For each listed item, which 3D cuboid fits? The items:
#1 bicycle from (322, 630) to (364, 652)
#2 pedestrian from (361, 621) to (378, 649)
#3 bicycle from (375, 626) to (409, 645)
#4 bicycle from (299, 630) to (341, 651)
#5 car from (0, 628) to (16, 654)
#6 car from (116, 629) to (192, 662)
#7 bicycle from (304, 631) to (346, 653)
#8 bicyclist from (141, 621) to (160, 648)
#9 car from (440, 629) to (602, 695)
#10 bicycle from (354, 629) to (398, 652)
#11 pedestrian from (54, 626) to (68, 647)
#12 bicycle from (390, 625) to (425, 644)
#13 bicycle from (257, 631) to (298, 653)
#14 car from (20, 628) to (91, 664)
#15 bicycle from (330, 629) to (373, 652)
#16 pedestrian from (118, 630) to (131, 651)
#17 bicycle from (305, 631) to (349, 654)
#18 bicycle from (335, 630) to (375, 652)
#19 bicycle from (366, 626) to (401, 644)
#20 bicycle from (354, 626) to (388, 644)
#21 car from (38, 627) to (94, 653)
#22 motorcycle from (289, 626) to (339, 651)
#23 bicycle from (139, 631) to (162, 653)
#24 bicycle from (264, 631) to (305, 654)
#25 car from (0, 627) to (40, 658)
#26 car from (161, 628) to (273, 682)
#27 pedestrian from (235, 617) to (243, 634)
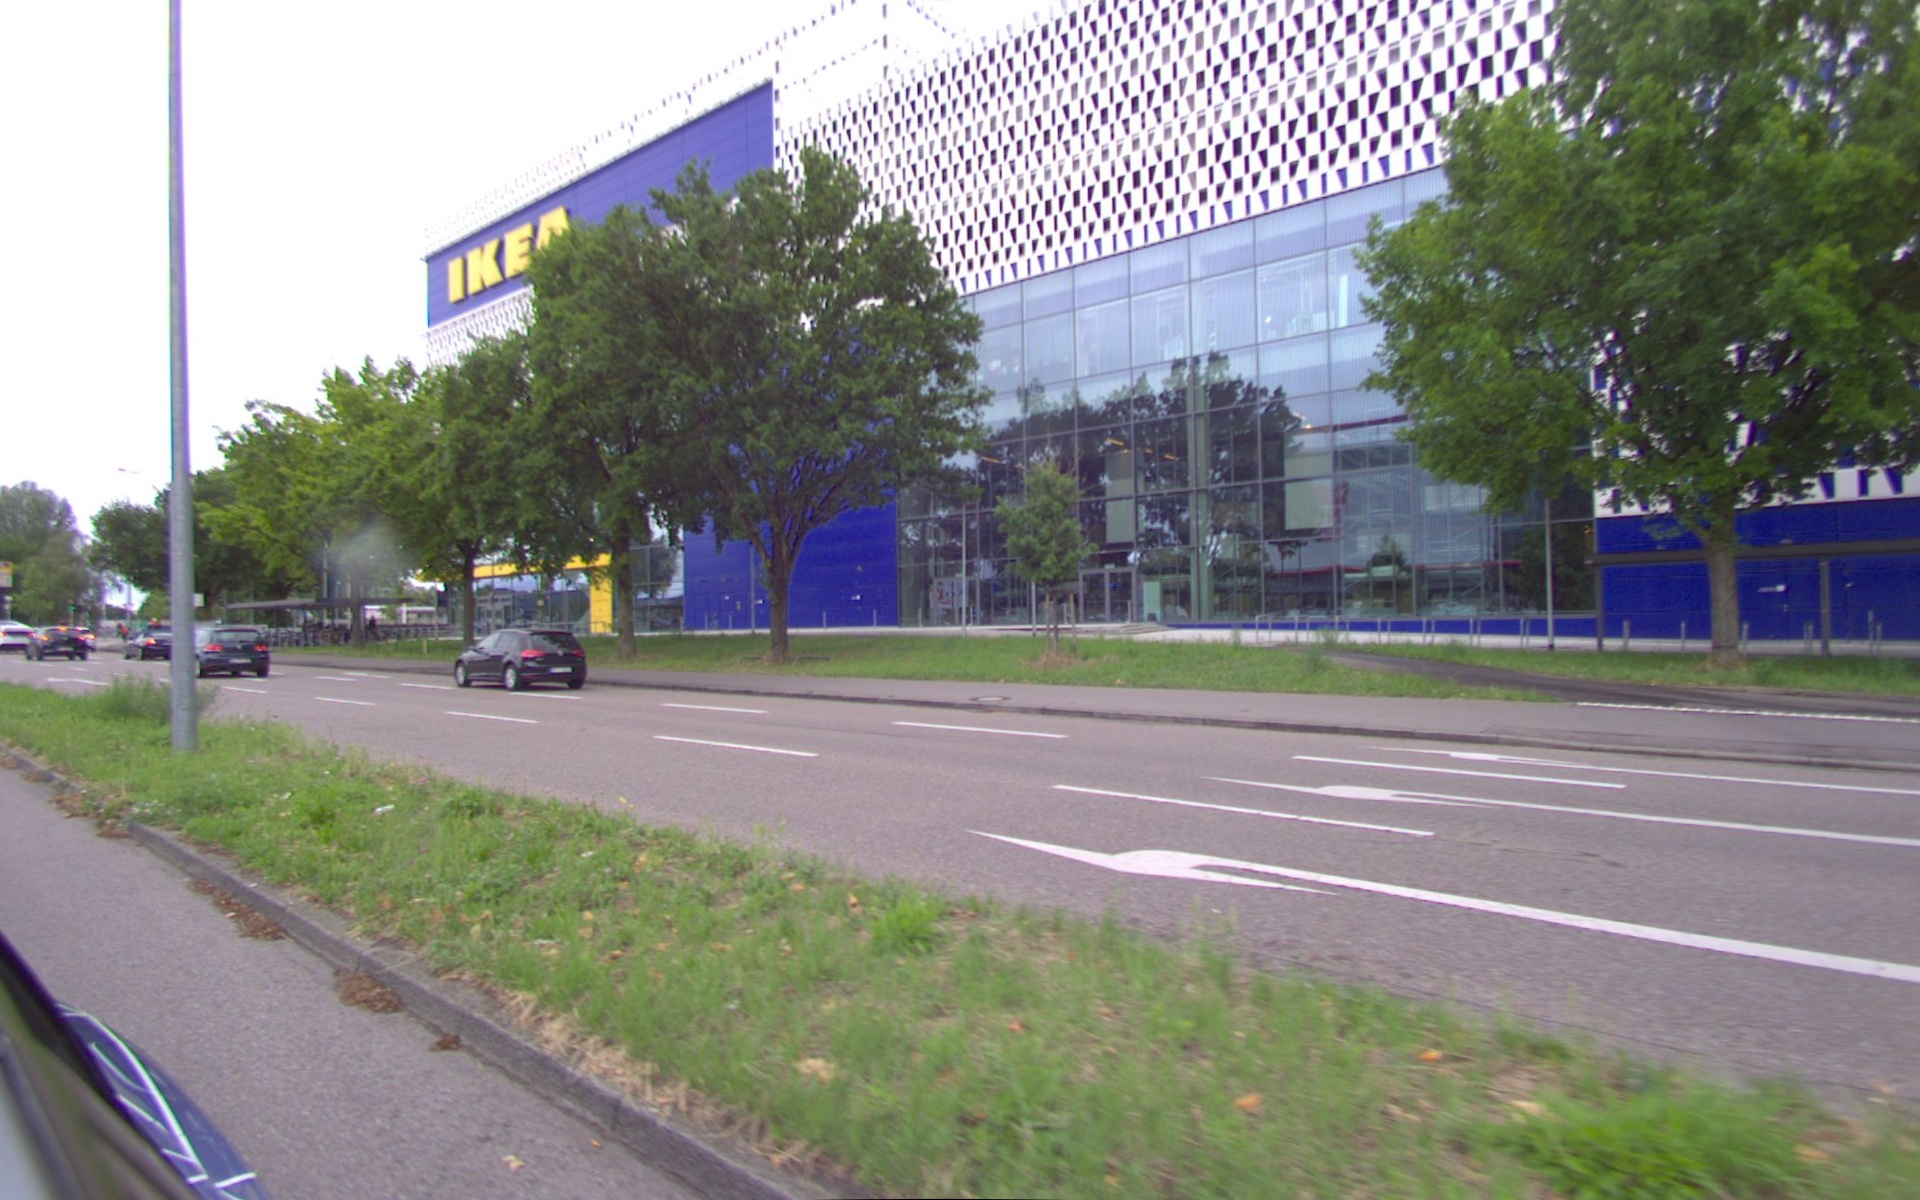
[{"bbox_3d":[-36.085,2.375,59.173,0.593,1.165,1.996,-2,1,39],"label":"bicycle"},{"bbox_3d":[-38.101,2.252,65.327,0.807,1.759,0.670,-3,-1,39],"label":"pedestrian"},{"bbox_3d":[-38.556,2.425,68.707,0.590,1.165,2.004,-2,0,26],"label":"bicycle"},{"bbox_3d":[-38.542,2.422,60.961,0.593,1.165,1.996,-2,1,39],"label":"bicycle"},{"bbox_3d":[-56.179,2.353,58.610,4.033,1.509,1.587,-1,-3,39],"label":"car"},{"bbox_3d":[-37.312,2.088,46.818,4.399,1.463,1.755,-1,-3,39],"label":"car"},{"bbox_3d":[-37.288,2.430,59.442,0.593,1.165,1.996,-2,1,39],"label":"bicycle"},{"bbox_3d":[-48.277,2.039,60.340,0.999,1.589,0.634,-2,0,39],"label":"bicyclist"},{"bbox_3d":[-10.666,1.443,24.480,4.179,1.467,1.911,-2,-3,40],"label":"car"},{"bbox_3d":[-32.374,2.222,56.095,0.593,1.131,1.994,-2,1,41],"label":"bicycle"},{"bbox_3d":[-77.926,3.141,87.738,0.686,1.778,0.656,3,-2,36],"label":"pedestrian"},{"bbox_3d":[-36.829,2.308,67.435,0.592,1.165,2.000,-2,0,33],"label":"bicycle"},{"bbox_3d":[-40.220,2.479,59.645,0.593,1.165,1.875,-2,1,39],"label":"bicycle"},{"bbox_3d":[-39.916,1.985,44.633,3.996,1.464,1.740,-1,-2,39],"label":"car"},{"bbox_3d":[-35.076,2.323,58.355,0.593,1.165,1.996,-2,1,39],"label":"bicycle"},{"bbox_3d":[-67.102,3.243,81.318,0.808,1.655,0.627,0,0,37],"label":"pedestrian"},{"bbox_3d":[-35.000,2.335,55.938,1.989,1.165,0.595,-2,0,-36],"label":"bicycle"},{"bbox_3d":[-34.227,2.318,57.274,0.593,1.090,1.792,-2,1,39],"label":"bicycle"},{"bbox_3d":[-39.672,2.407,69.705,0.593,1.165,1.997,-2,0,37],"label":"bicycle"},{"bbox_3d":[-41.435,2.483,71.233,0.593,1.165,1.997,-2,0,37],"label":"bicycle"},{"bbox_3d":[-52.883,2.359,59.829,4.165,1.465,1.847,-1,-2,40],"label":"car"},{"bbox_3d":[-39.474,2.321,61.901,0.796,1.365,2.477,-2,0,27],"label":"motorcycle"},{"bbox_3d":[-48.264,2.513,60.364,2.054,1.260,0.636,-2,0,39],"label":"bicycle"},{"bbox_3d":[-39.370,2.470,58.979,0.593,1.165,1.875,-2,1,39],"label":"bicycle"},{"bbox_3d":[-51.039,2.266,54.290,4.177,1.530,1.912,-2,-1,39],"label":"car"},{"bbox_3d":[-22.066,1.562,30.005,4.179,1.467,1.762,-1,-2,41],"label":"car"},{"bbox_3d":[-79.009,2.807,110.868,0.788,1.755,0.578,-5,-3,41],"label":"pedestrian"}]
